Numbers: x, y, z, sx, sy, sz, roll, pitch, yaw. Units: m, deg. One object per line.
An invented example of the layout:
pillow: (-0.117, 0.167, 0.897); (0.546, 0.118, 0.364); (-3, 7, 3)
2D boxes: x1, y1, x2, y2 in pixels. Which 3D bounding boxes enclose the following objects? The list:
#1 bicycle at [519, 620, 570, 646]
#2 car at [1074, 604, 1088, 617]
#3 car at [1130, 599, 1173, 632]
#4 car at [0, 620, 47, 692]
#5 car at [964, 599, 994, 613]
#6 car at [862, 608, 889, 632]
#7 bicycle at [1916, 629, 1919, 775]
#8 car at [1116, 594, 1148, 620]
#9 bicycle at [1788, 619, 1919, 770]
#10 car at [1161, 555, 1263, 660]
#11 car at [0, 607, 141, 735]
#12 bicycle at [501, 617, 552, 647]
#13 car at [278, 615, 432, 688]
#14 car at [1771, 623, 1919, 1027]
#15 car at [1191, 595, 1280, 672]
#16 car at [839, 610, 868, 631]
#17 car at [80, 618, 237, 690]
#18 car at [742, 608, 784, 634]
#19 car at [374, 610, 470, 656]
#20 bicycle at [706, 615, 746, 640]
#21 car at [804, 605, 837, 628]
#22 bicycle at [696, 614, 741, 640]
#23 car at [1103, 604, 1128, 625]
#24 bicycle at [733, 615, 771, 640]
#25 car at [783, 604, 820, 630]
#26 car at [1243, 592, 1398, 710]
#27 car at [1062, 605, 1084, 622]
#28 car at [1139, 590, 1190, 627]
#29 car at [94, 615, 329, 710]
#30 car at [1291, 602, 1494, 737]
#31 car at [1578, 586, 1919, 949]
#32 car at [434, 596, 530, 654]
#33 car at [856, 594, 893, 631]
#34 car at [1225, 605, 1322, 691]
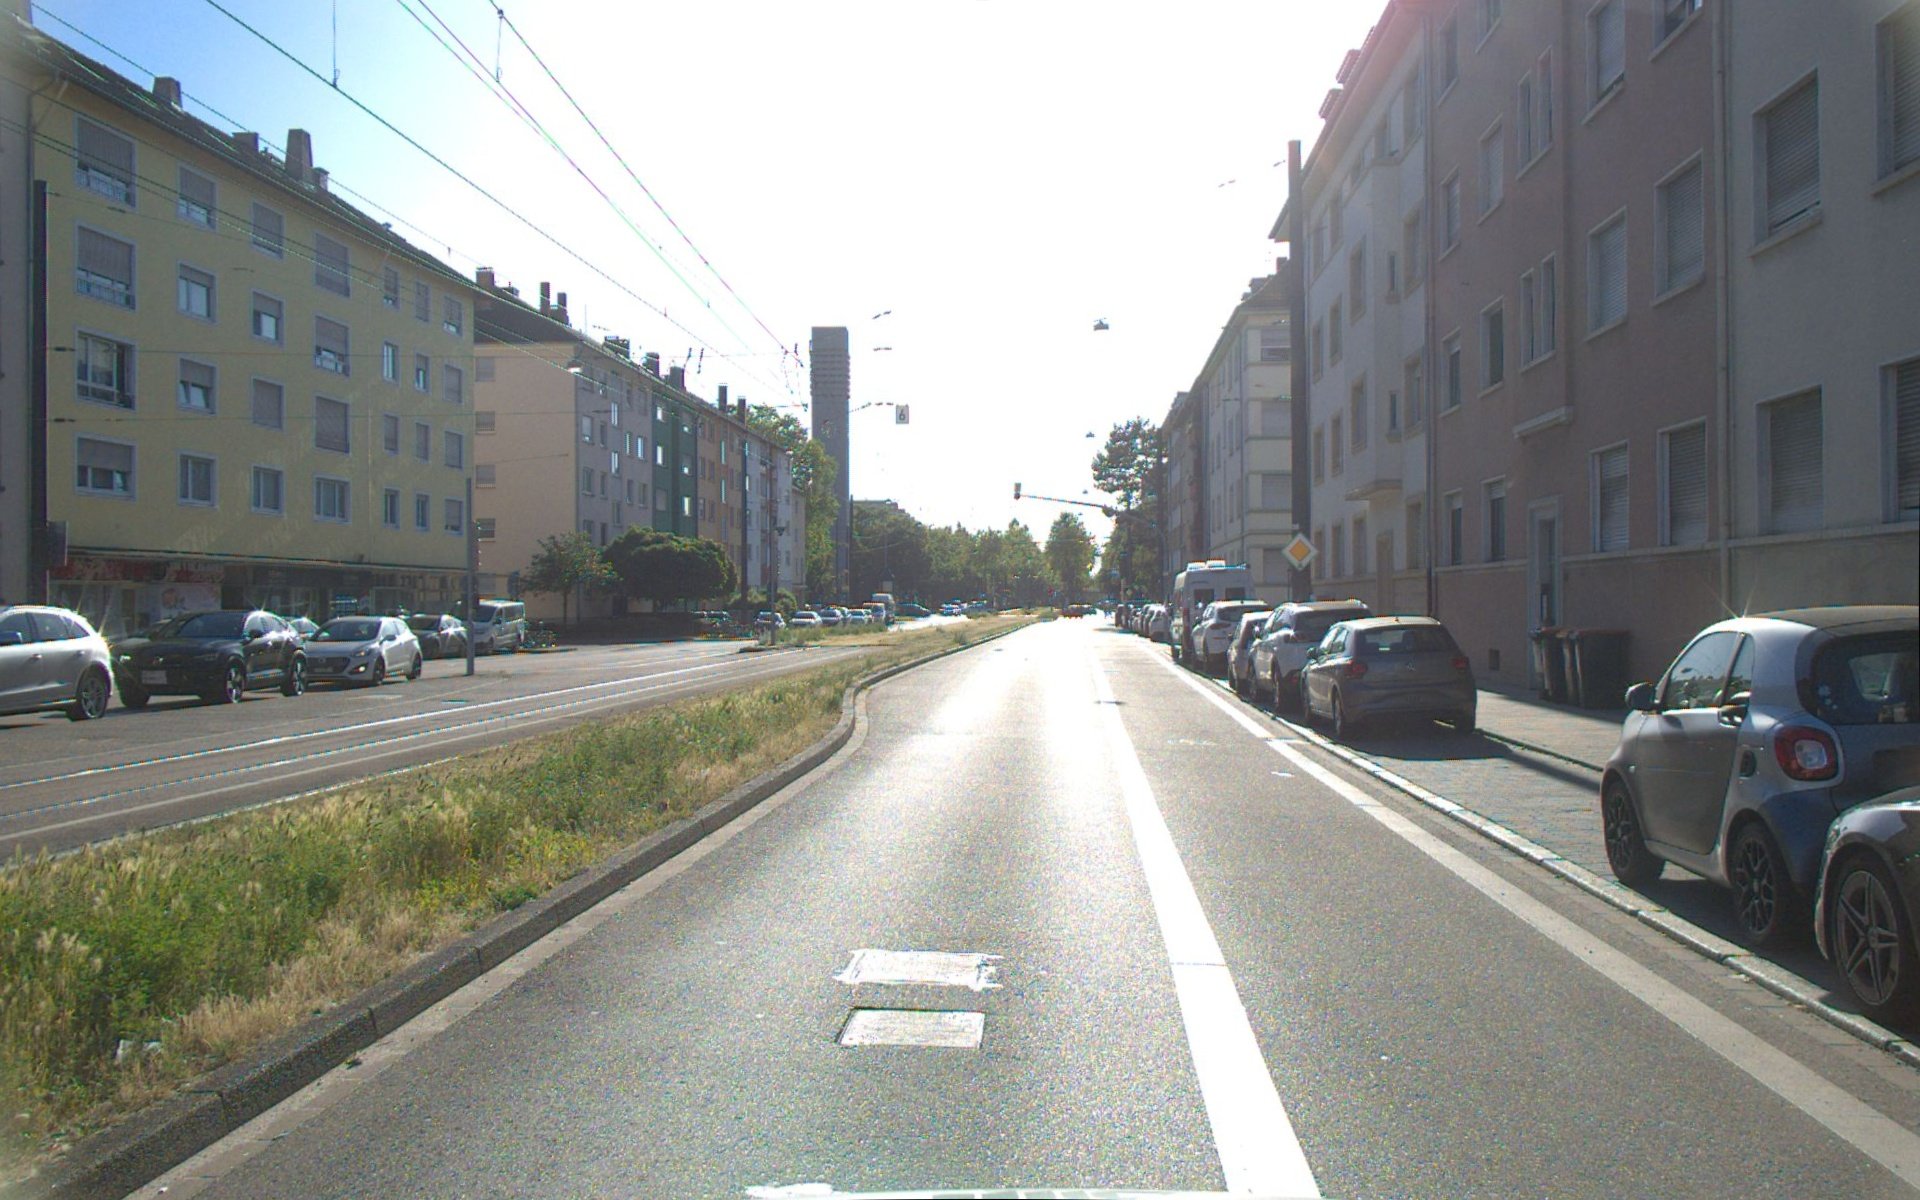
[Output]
bicycle: (-17.717, 1.404, 70.599); (2.036, 1.040, 0.802); (-1, -2, -9)
car: (16.851, 1.466, 230.995); (1.805, 1.716, 4.001); (-1, -2, 3)
car: (9.707, 0.813, 84.040); (1.858, 1.514, 3.739); (-1, -2, 2)
car: (-20.480, 1.161, 33.252); (1.739, 1.460, 4.058); (-1, -1, 5)
car: (2.469, 0.799, 216.892); (3.906, 1.713, 1.999); (-1, -2, -2)
car: (-7.587, 1.810, 149.068); (1.952, 1.999, 4.752); (-1, -2, 2)
bicycle: (8.197, 0.856, 13.042); (0.503, 1.213, 1.558); (-1, 0, 5)
car: (11.245, 0.486, 108.049); (1.857, 1.514, 3.740); (-1, -2, 3)
bicycle: (8.236, 0.812, 14.971); (0.616, 1.213, 1.883); (-3, 0, 5)
car: (7.063, 0.192, 46.908); (2.114, 2.698, 5.645); (-3, 0, 2)
car: (-13.131, 0.963, 22.117); (1.826, 1.604, 4.632); (-3, 0, 3)
bicycle: (-17.981, 1.317, 68.603); (1.937, 1.227, 0.692); (0, -2, -23)
car: (-13.049, 1.088, 35.936); (1.786, 1.471, 4.284); (-1, -1, -1)
car: (4.282, 0.781, 4.653); (1.844, 1.422, 4.743); (-3, 0, 3)
car: (6.554, 0.755, 39.655); (1.557, 1.663, 3.919); (-3, 0, 2)
car: (-8.843, 1.729, 137.456); (1.952, 1.581, 4.000); (-1, -2, 2)
car: (-19.842, 1.313, 41.110); (1.793, 1.609, 3.804); (-1, 0, 5)
car: (-11.846, 1.278, 99.645); (1.952, 1.479, 4.000); (-1, -2, 2)
car: (-18.857, 1.180, 58.158); (1.727, 1.514, 3.918); (-1, -2, 6)
bicycle: (-12.865, 1.507, 91.038); (2.084, 1.348, 0.896); (-1, -2, -2)
car: (-10.334, 1.235, 122.766); (1.952, 1.581, 4.000); (-1, -2, 2)
bicycle: (-12.994, 1.440, 89.149); (2.261, 1.328, 0.913); (-1, -2, 0)
car: (12.587, 1.190, 133.959); (1.857, 1.514, 3.740); (-1, -2, 3)
bicycle: (-11.754, 1.555, 93.466); (2.091, 1.348, 0.893); (0, -2, -14)
car: (-10.754, 1.158, 112.457); (1.952, 1.609, 4.000); (-1, -2, 2)
car: (5.736, 0.763, 26.764); (1.627, 1.672, 4.185); (-3, 0, 1)
car: (13.043, 1.605, 191.126); (1.954, 1.814, 3.997); (-1, -2, -3)
car: (9.060, 0.397, 73.492); (1.858, 1.514, 3.739); (-1, -2, 2)
car: (-13.055, 1.054, 29.201); (1.922, 1.506, 4.570); (-1, -1, 2)
car: (5.548, 0.832, 21.712); (1.736, 1.497, 4.095); (-3, 0, 3)
car: (4.536, 0.723, 8.649); (1.520, 1.552, 2.989); (-2, -1, 2)
car: (-18.537, 0.955, 64.413); (1.962, 2.142, 5.307); (-1, -1, 3)
car: (-8.108, 1.190, 157.932); (2.923, 3.295, 6.794); (-1, -2, 2)
car: (5.924, 0.871, 31.552); (1.470, 1.451, 3.455); (-3, 0, 6)
